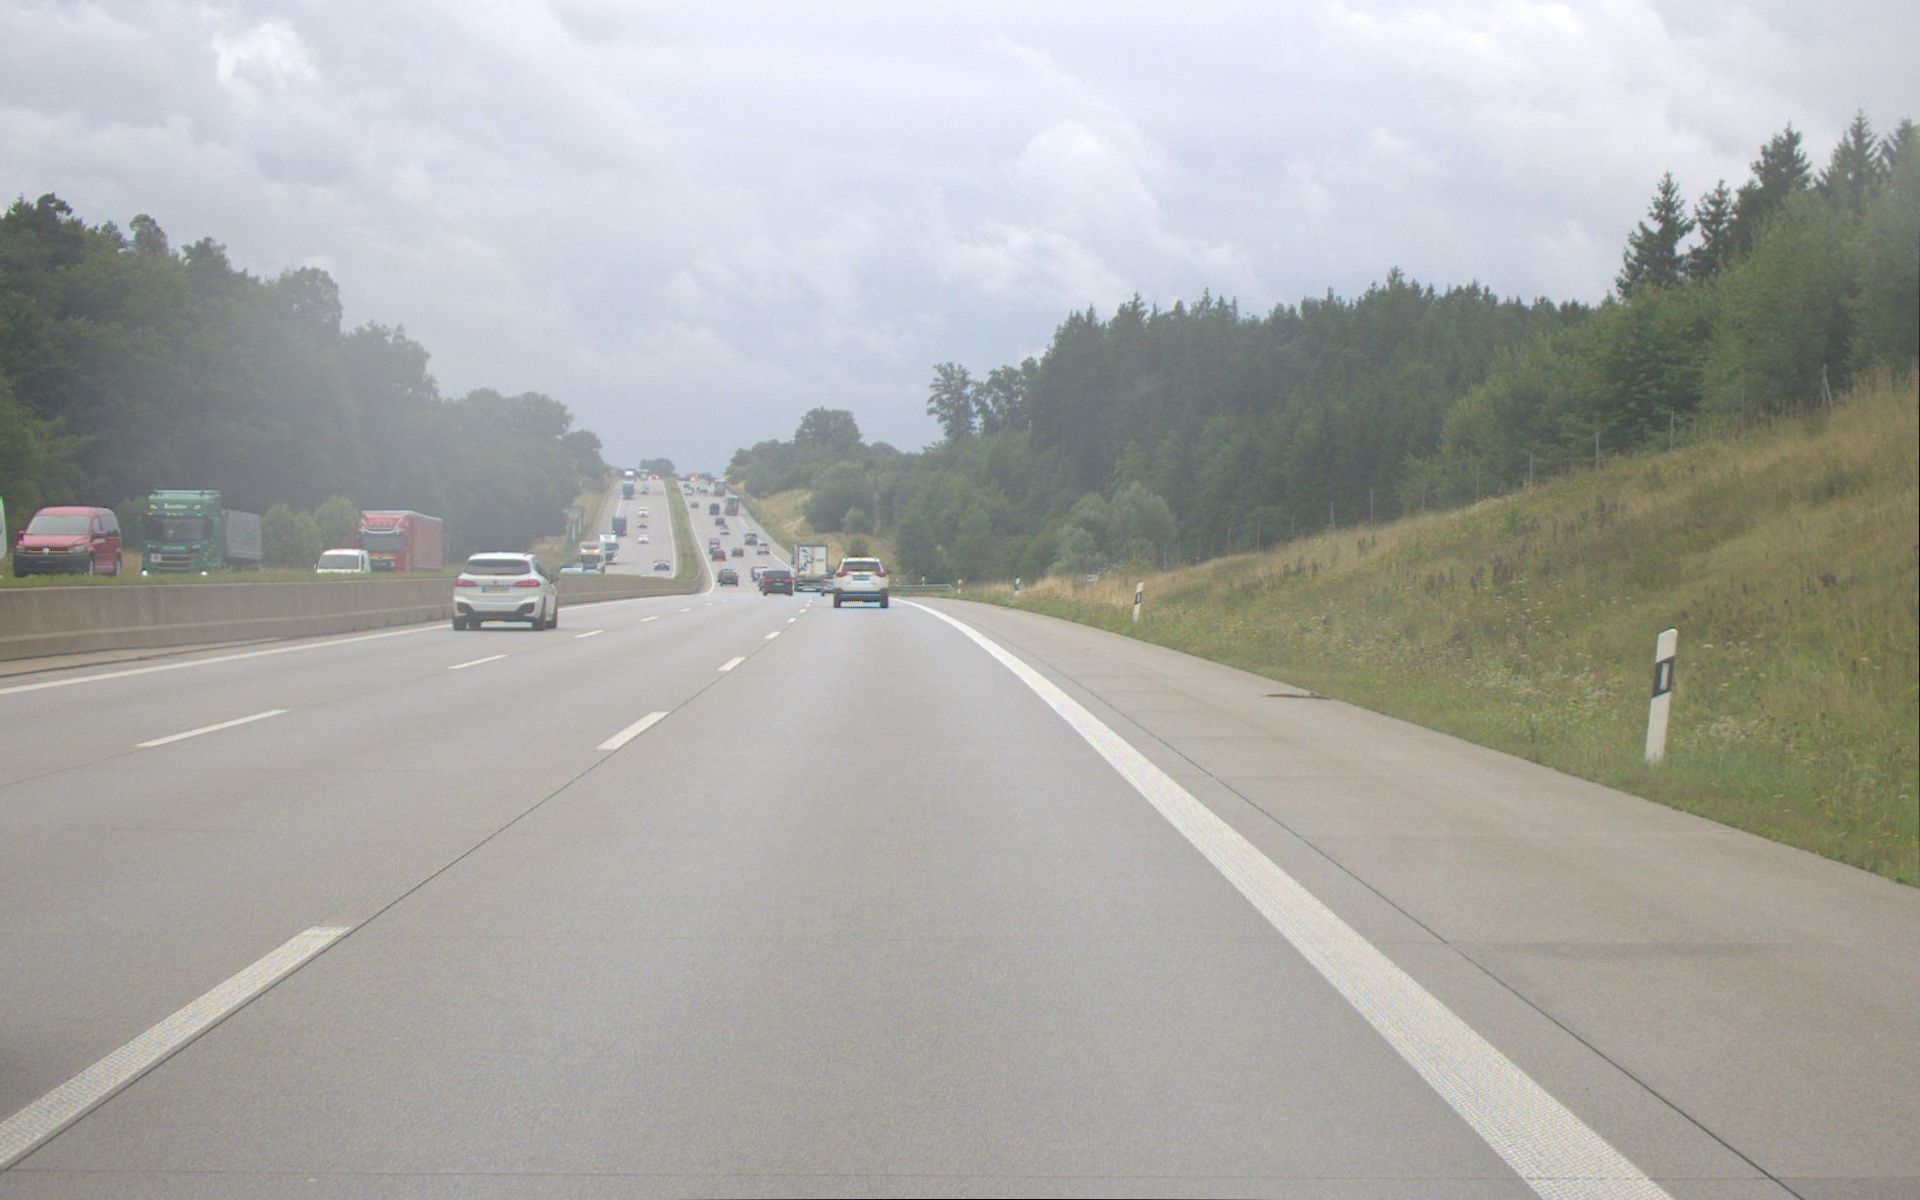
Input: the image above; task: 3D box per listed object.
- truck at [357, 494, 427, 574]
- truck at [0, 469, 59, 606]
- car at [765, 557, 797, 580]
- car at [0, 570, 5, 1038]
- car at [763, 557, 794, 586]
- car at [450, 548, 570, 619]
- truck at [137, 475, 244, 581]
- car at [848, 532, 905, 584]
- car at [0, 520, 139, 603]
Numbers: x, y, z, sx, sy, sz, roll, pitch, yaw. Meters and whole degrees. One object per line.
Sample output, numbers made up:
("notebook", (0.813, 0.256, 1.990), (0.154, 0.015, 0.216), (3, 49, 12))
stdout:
("truck", (-28.602, -3.289, 173.367), (2.553, 3.914, 6.947), (1, 1, -2))
("truck", (-20.710, -1.313, 71.595), (2.267, 2.778, 6.512), (1, 1, -1))
("car", (-11.384, -1.986, 218.588), (1.935, 1.370, 4.595), (1, 1, -4))
("car", (-3.653, 0.635, 7.671), (1.752, 1.393, 4.484), (1, 1, 0))
("car", (-11.448, -1.810, 216.813), (1.891, 1.744, 4.001), (1, 1, -4))
("car", (-9.026, -0.354, 69.264), (1.947, 1.351, 4.260), (1, 1, -1))
("truck", (-27.966, -2.593, 125.118), (2.780, 3.727, 5.661), (1, 1, -2))
("car", (-2.750, -1.398, 113.540), (1.825, 1.650, 3.985), (1, 1, -1))
("car", (-21.154, -0.901, 81.711), (1.993, 1.875, 5.313), (1, 0, 0))
